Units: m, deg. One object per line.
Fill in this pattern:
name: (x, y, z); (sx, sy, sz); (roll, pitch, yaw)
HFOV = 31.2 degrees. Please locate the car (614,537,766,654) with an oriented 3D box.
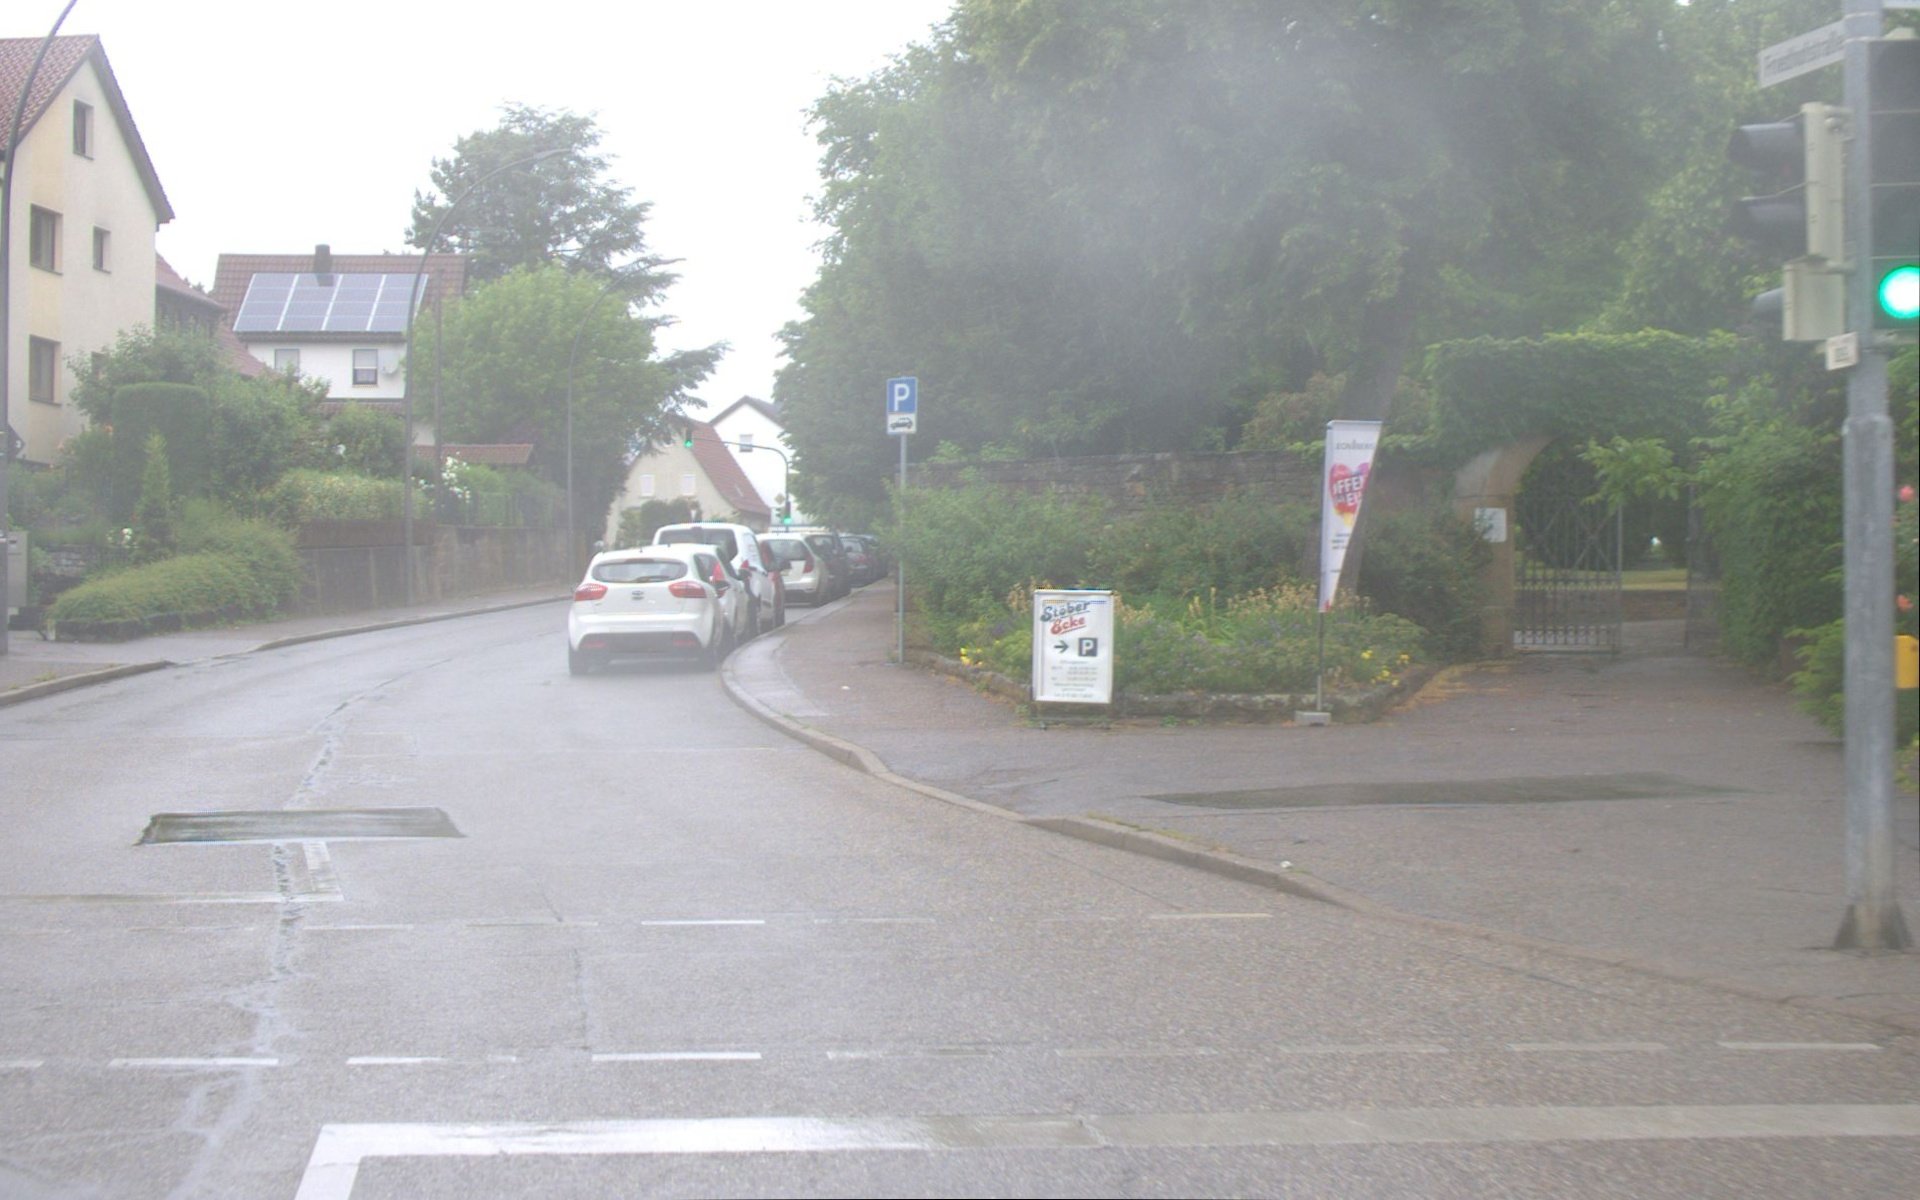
car: (-3.642, -0.094, 46.865); (1.646, 1.457, 4.000); (1, 2, 1)

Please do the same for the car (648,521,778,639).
car: (-3.753, -0.318, 52.825); (1.637, 1.735, 4.136); (0, 0, 1)

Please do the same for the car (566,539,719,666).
car: (-3.834, 0.008, 42.015); (1.611, 1.475, 4.038); (0, 1, -2)

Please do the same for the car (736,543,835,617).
car: (-3.773, -0.431, 74.745); (1.815, 1.568, 3.880); (0, 0, 2)

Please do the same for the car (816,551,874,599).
car: (-3.369, -0.742, 100.945); (1.651, 1.367, 4.182); (0, 1, -2)

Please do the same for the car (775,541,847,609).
car: (-3.761, -0.628, 87.220); (1.742, 1.662, 4.498); (0, 0, -1)

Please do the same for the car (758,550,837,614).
car: (-3.798, -0.424, 80.780); (1.764, 1.442, 4.697); (0, 0, -2)
